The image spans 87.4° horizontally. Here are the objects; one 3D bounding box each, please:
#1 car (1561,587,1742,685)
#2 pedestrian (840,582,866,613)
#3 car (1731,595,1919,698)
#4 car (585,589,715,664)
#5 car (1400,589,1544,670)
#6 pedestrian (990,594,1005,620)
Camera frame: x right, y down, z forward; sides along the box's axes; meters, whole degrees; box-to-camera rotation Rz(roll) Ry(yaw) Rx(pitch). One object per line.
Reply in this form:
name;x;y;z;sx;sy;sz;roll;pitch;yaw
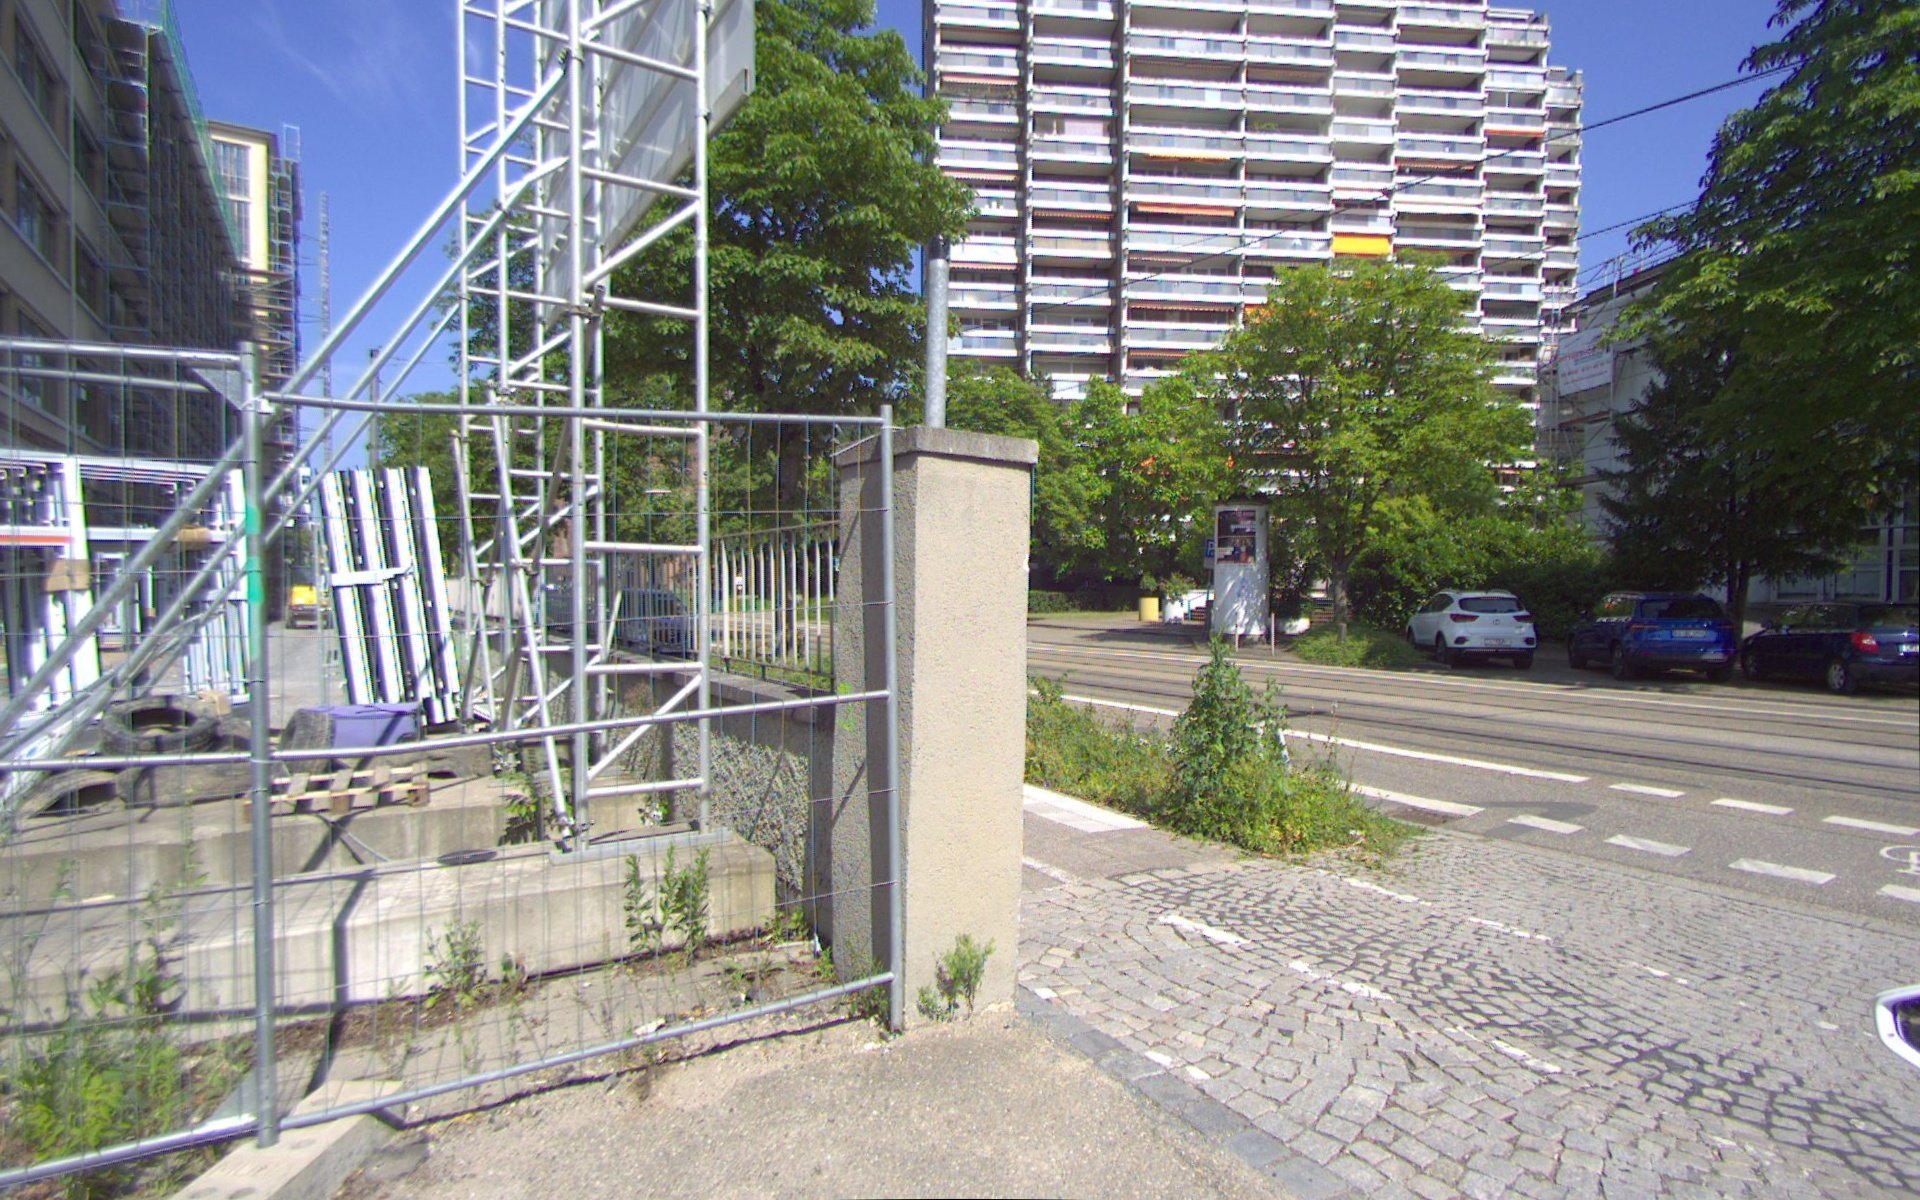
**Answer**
car;13.257;0.606;19.540;1.745;1.644;3.945;0;1;17
pedestrian;-6.321;-0.155;59.305;1.049;1.822;1.253;2;0;-34
car;14.843;0.702;16.950;1.544;1.551;3.460;1;0;12
car;-7.014;0.529;22.445;1.801;1.514;4.071;0;0;-32
car;11.247;0.584;22.363;1.783;1.628;3.947;1;0;10
pedestrian;1.682;0.311;45.302;0.525;1.169;0.700;0;0;-10
